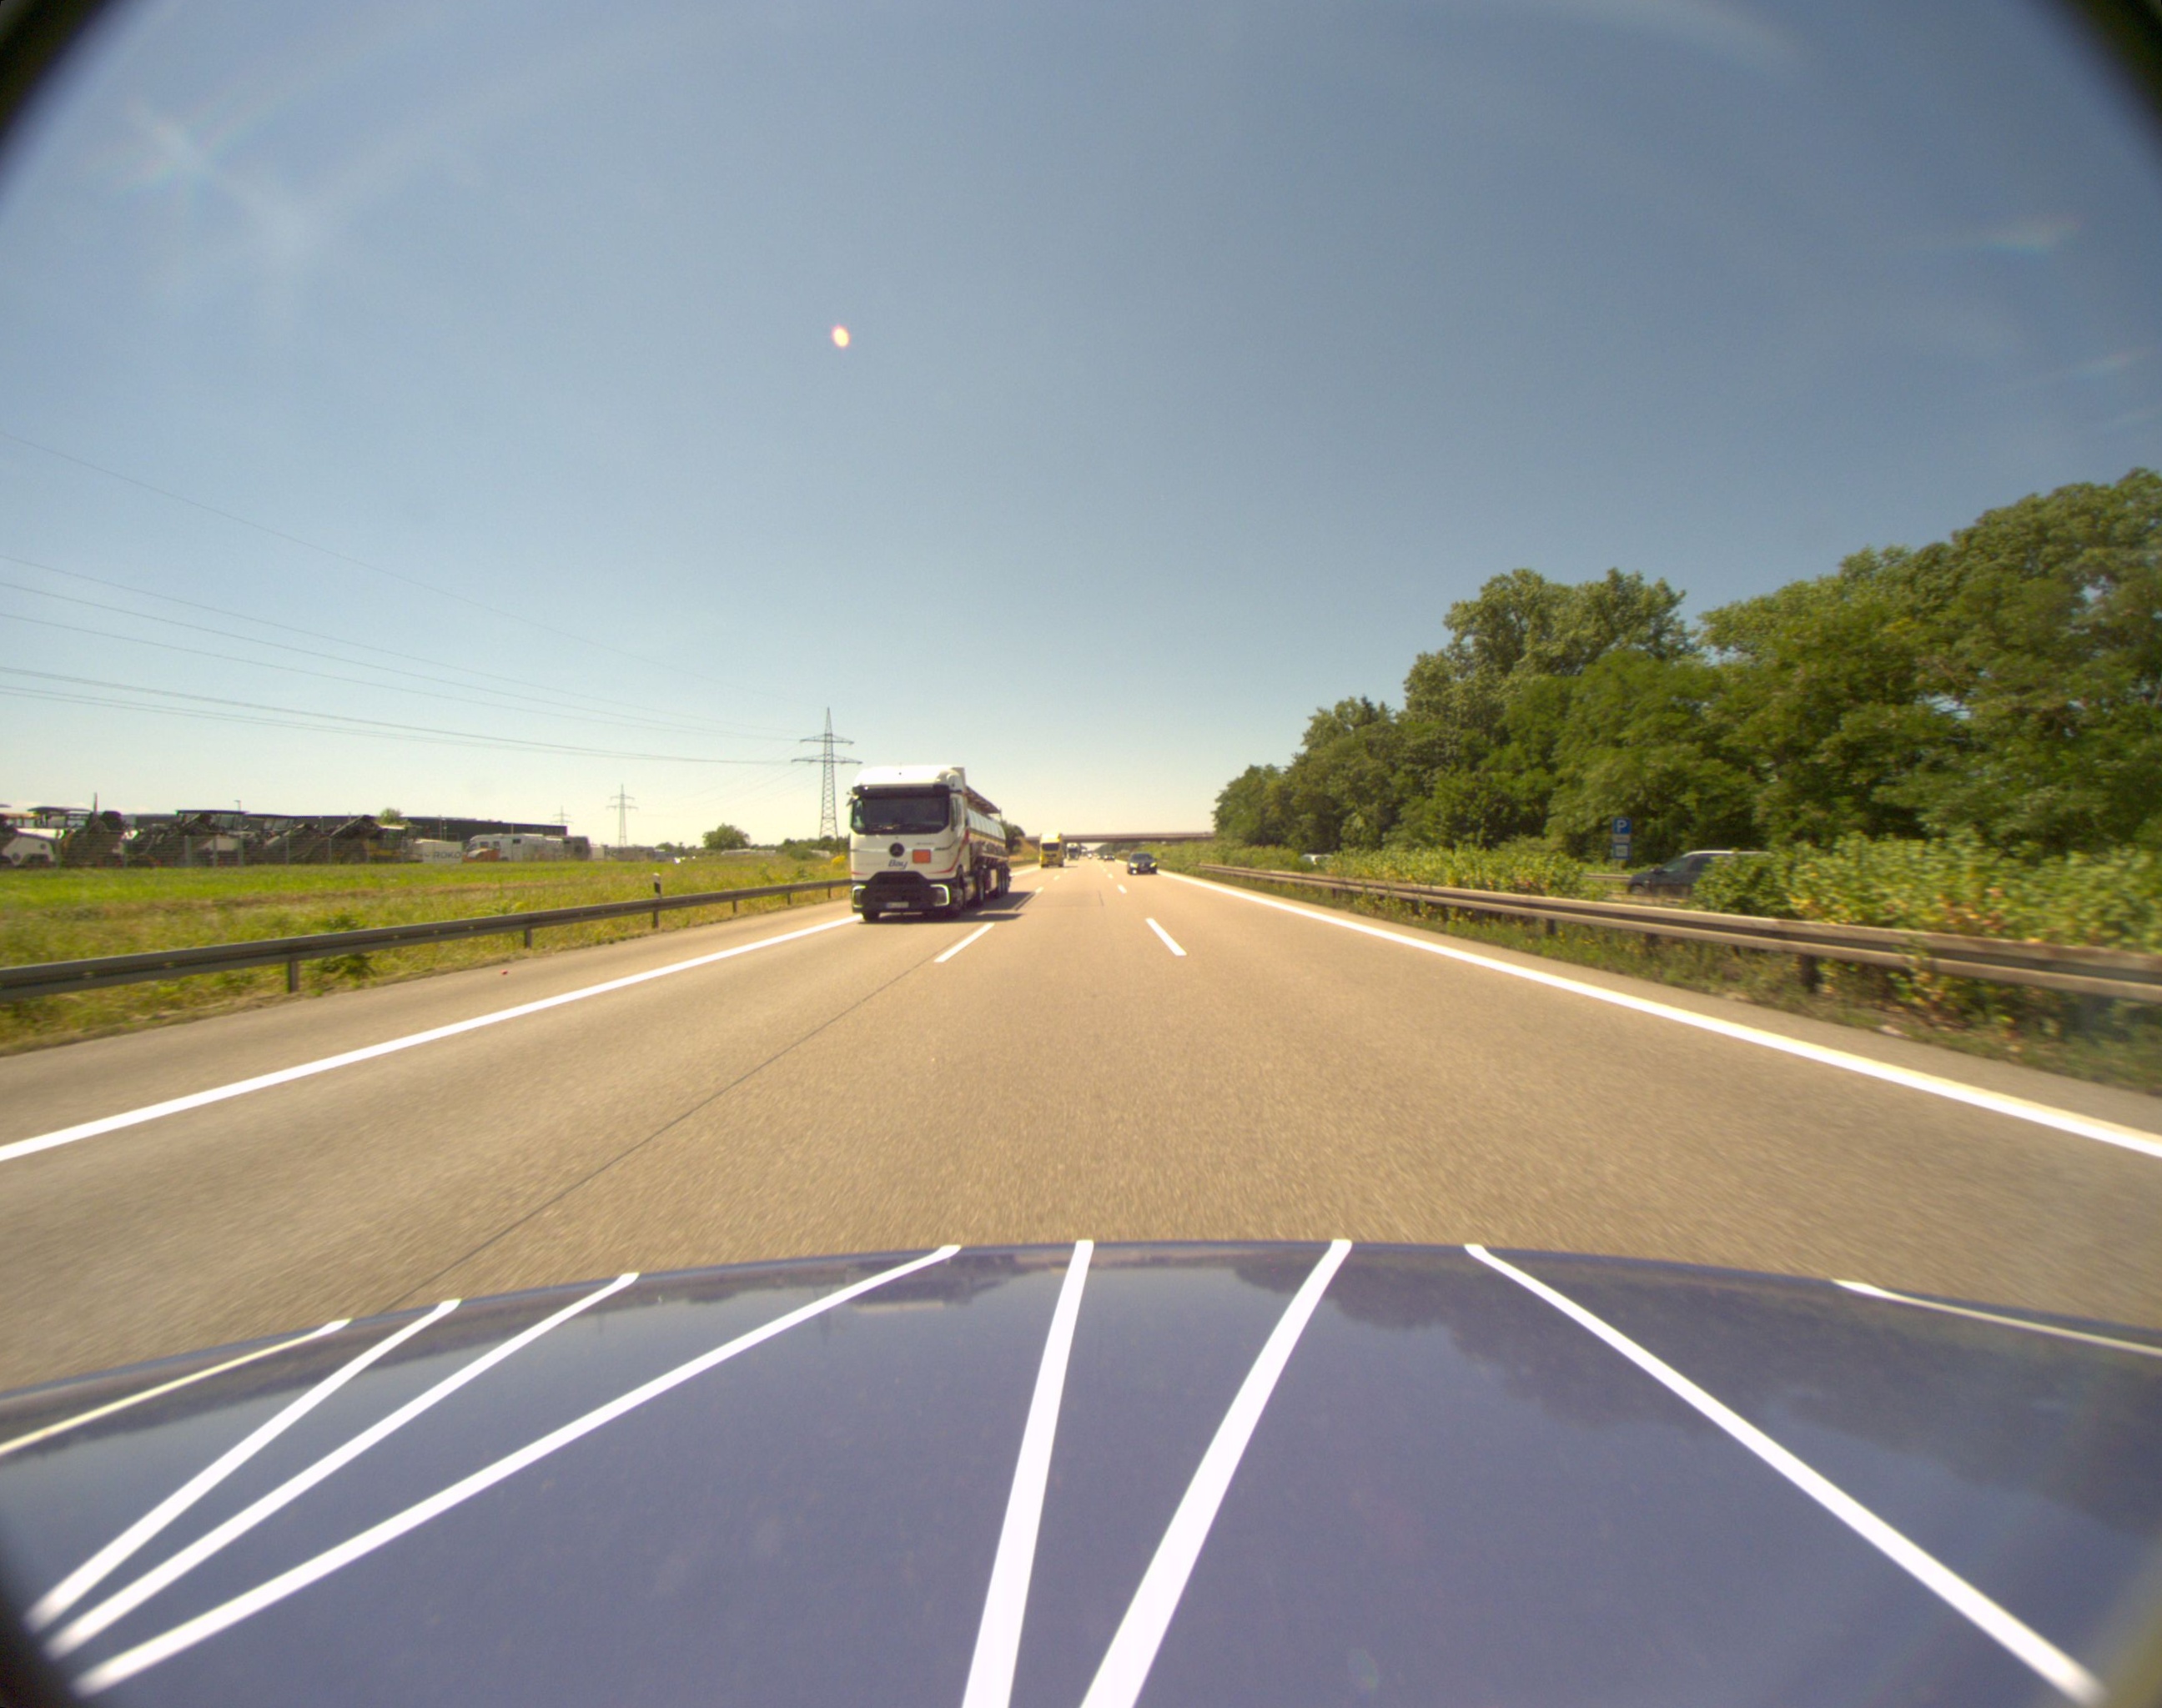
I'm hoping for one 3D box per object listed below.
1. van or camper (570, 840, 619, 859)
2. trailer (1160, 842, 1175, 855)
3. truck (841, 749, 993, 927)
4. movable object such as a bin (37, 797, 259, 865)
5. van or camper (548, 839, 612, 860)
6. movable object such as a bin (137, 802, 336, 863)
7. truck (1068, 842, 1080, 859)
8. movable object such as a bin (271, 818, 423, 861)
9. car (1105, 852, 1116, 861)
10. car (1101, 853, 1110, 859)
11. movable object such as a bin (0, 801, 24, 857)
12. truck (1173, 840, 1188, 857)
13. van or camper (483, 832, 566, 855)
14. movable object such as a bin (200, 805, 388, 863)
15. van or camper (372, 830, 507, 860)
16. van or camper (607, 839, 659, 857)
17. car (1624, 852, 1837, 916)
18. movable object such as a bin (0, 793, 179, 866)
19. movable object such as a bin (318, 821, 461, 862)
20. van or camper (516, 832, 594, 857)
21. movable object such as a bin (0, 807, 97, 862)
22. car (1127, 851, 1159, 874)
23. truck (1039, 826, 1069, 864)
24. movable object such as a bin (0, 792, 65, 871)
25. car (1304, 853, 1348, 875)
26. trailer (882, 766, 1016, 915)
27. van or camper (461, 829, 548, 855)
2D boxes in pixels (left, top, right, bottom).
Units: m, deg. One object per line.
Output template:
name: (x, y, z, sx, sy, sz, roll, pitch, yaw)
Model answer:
van or camper: (-69.012, -0.574, 107.858, 5.271, 2.662, 2.616, 0, 0, -1)
trailer: (24.054, -1.620, 211.393, 2.593, 3.397, 14.155, -2, 0, 1)
truck: (-4.178, -0.369, 20.853, 2.579, 4.048, 6.392, -2, 0, 0)
movable object such as a bin: (-54.390, -1.328, 44.452, 9.739, 3.668, 2.977, 1, 1, 3)
van or camper: (-66.933, -0.596, 101.573, 6.367, 2.662, 3.325, 0, 0, 0)
movable object such as a bin: (-54.062, -1.372, 48.810, 9.739, 3.668, 2.976, 1, 1, 2)
truck: (-1.654, -0.788, 181.713, 2.476, 4.038, 6.320, -2, 0, 1)
movable object such as a bin: (-54.614, -1.095, 56.652, 8.749, 2.989, 2.956, 1, 1, 3)
car: (5.082, 0.444, 132.301, 1.811, 1.417, 4.000, -2, 0, 1)
car: (5.514, 0.410, 172.072, 1.811, 1.417, 4.000, -2, 0, 1)
movable object such as a bin: (-72.806, -1.613, 47.931, 9.061, 3.551, 2.923, 1, 1, 5)
truck: (22.100, -1.210, 168.907, 2.597, 3.684, 6.828, -2, 0, 2)
van or camper: (-53.651, -1.004, 73.375, 6.131, 2.207, 2.602, 0, 0, 2)
movable object such as a bin: (-54.102, -1.359, 52.392, 9.739, 3.668, 3.419, 1, 1, 3)
van or camper: (-55.926, -0.778, 66.384, 9.333, 2.506, 3.161, 0, 0, 2)
van or camper: (-68.988, -0.933, 117.054, 6.462, 2.751, 2.422, 0, 0, -1)
car: (16.394, 0.689, 19.528, 1.791, 1.393, 4.328, -2, 0, 1)
movable object such as a bin: (-54.519, -1.314, 40.668, 9.739, 3.668, 2.633, 1, 1, 3)
movable object such as a bin: (-54.554, -0.990, 60.072, 8.747, 2.989, 3.215, 1, 1, 5)
van or camper: (-53.498, -0.969, 77.354, 6.357, 2.538, 2.438, 0, 0, 2)
movable object such as a bin: (-72.356, -1.301, 51.236, 9.061, 3.551, 2.923, 1, 1, 5)
car: (4.154, 0.557, 51.498, 1.811, 1.459, 4.000, -2, 0, 1)
truck: (-3.159, -1.015, 90.432, 2.941, 4.175, 10.681, -2, 0, 0)
movable object such as a bin: (-55.378, -1.141, 36.430, 9.741, 3.668, 2.678, 1, 1, 0)
car: (12.951, 0.516, 40.311, 1.394, 1.046, 2.942, -2, 0, 1)
trailer: (-4.144, -0.380, 26.721, 2.586, 4.050, 11.102, -2, 0, 0)
van or camper: (-53.530, -1.096, 70.645, 6.131, 2.388, 2.602, 0, 0, 2)
